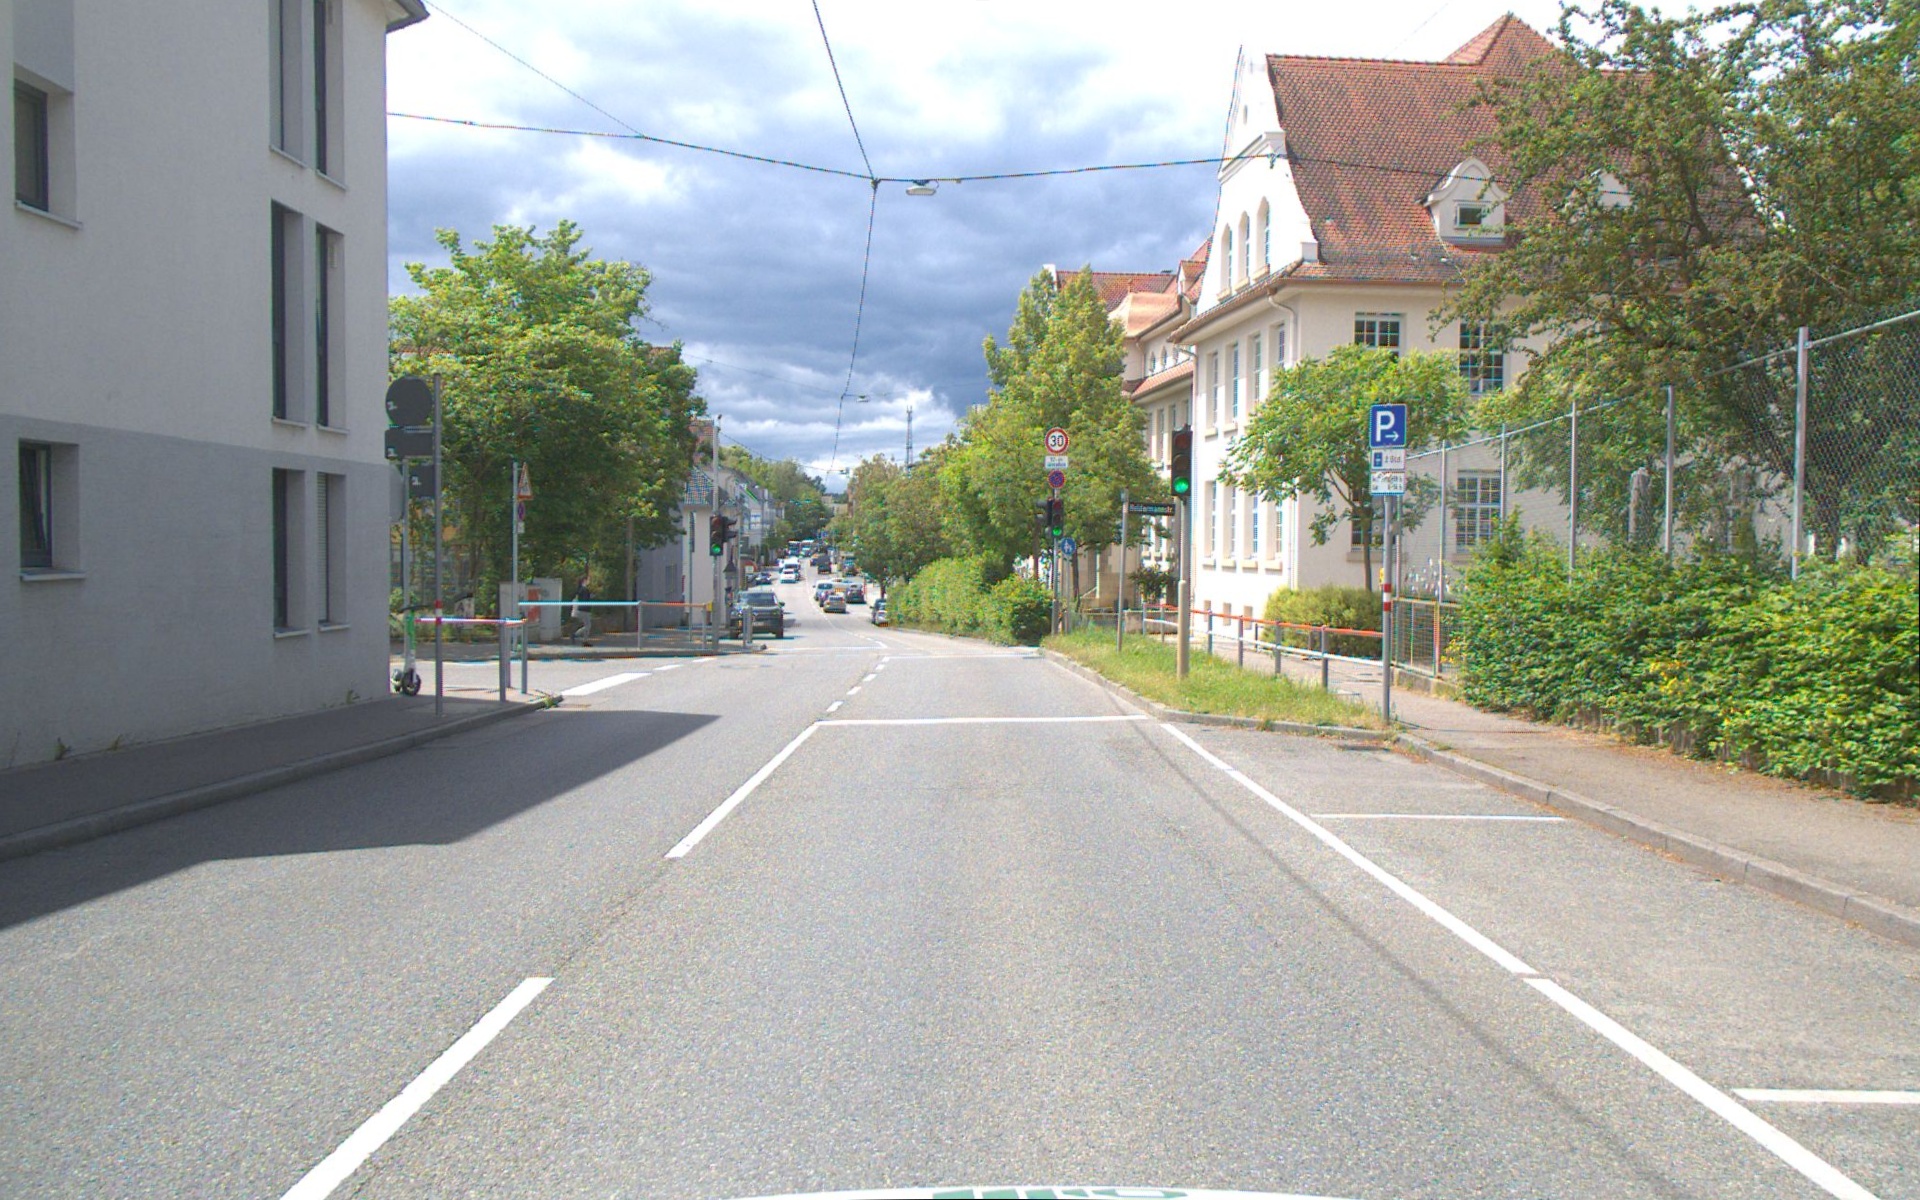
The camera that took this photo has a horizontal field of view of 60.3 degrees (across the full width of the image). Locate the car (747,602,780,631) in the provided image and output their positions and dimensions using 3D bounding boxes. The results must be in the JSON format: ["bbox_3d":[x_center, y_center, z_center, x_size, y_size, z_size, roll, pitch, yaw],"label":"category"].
[{"bbox_3d":[-10.660,0.878,89.707,1.666,1.414,3.859,1,1,-9],"label":"car"}]

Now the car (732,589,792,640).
[{"bbox_3d":[-6.676,0.465,56.061,1.760,1.638,4.642,0,1,-4],"label":"car"}]

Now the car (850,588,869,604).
[{"bbox_3d":[-9.704,-0.385,159.269,1.719,1.395,3.994,0,-3,-5],"label":"car"}]

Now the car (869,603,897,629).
[{"bbox_3d":[-5.565,1.104,119.003,1.808,1.798,4.509,1,0,-6],"label":"car"}]

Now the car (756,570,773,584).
[{"bbox_3d":[-23.466,-2.755,198.645,1.836,1.668,3.997,2,0,-3],"label":"car"}]

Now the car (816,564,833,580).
[{"bbox_3d":[-19.834,-4.098,242.552,2.389,2.359,5.320,1,0,-6],"label":"car"}]

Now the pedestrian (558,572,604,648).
[{"bbox_3d":[-8.293,0.217,36.223,0.765,1.625,0.663,1,0,-38],"label":"pedestrian"}]

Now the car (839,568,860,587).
[{"bbox_3d":[-12.133,-2.441,181.485,1.956,2.049,3.993,1,0,-8],"label":"car"}]

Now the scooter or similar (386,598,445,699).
[{"bbox_3d":[-7.208,0.623,21.883,0.484,1.283,1.294,0,0,-30],"label":"scooter or similar"}]

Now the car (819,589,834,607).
[{"bbox_3d":[-12.378,-0.193,153.380,1.250,1.553,3.045,0,3,-8],"label":"car"}]

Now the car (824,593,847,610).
[{"bbox_3d":[-10.841,0.111,143.401,1.711,1.441,3.993,-1,1,-8],"label":"car"}]

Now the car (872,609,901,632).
[{"bbox_3d":[-5.066,1.395,113.031,1.752,1.535,4.359,1,0,-6],"label":"car"}]

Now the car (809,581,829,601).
[{"bbox_3d":[-13.822,-0.889,162.248,1.802,1.894,3.844,1,0,-7],"label":"car"}]
